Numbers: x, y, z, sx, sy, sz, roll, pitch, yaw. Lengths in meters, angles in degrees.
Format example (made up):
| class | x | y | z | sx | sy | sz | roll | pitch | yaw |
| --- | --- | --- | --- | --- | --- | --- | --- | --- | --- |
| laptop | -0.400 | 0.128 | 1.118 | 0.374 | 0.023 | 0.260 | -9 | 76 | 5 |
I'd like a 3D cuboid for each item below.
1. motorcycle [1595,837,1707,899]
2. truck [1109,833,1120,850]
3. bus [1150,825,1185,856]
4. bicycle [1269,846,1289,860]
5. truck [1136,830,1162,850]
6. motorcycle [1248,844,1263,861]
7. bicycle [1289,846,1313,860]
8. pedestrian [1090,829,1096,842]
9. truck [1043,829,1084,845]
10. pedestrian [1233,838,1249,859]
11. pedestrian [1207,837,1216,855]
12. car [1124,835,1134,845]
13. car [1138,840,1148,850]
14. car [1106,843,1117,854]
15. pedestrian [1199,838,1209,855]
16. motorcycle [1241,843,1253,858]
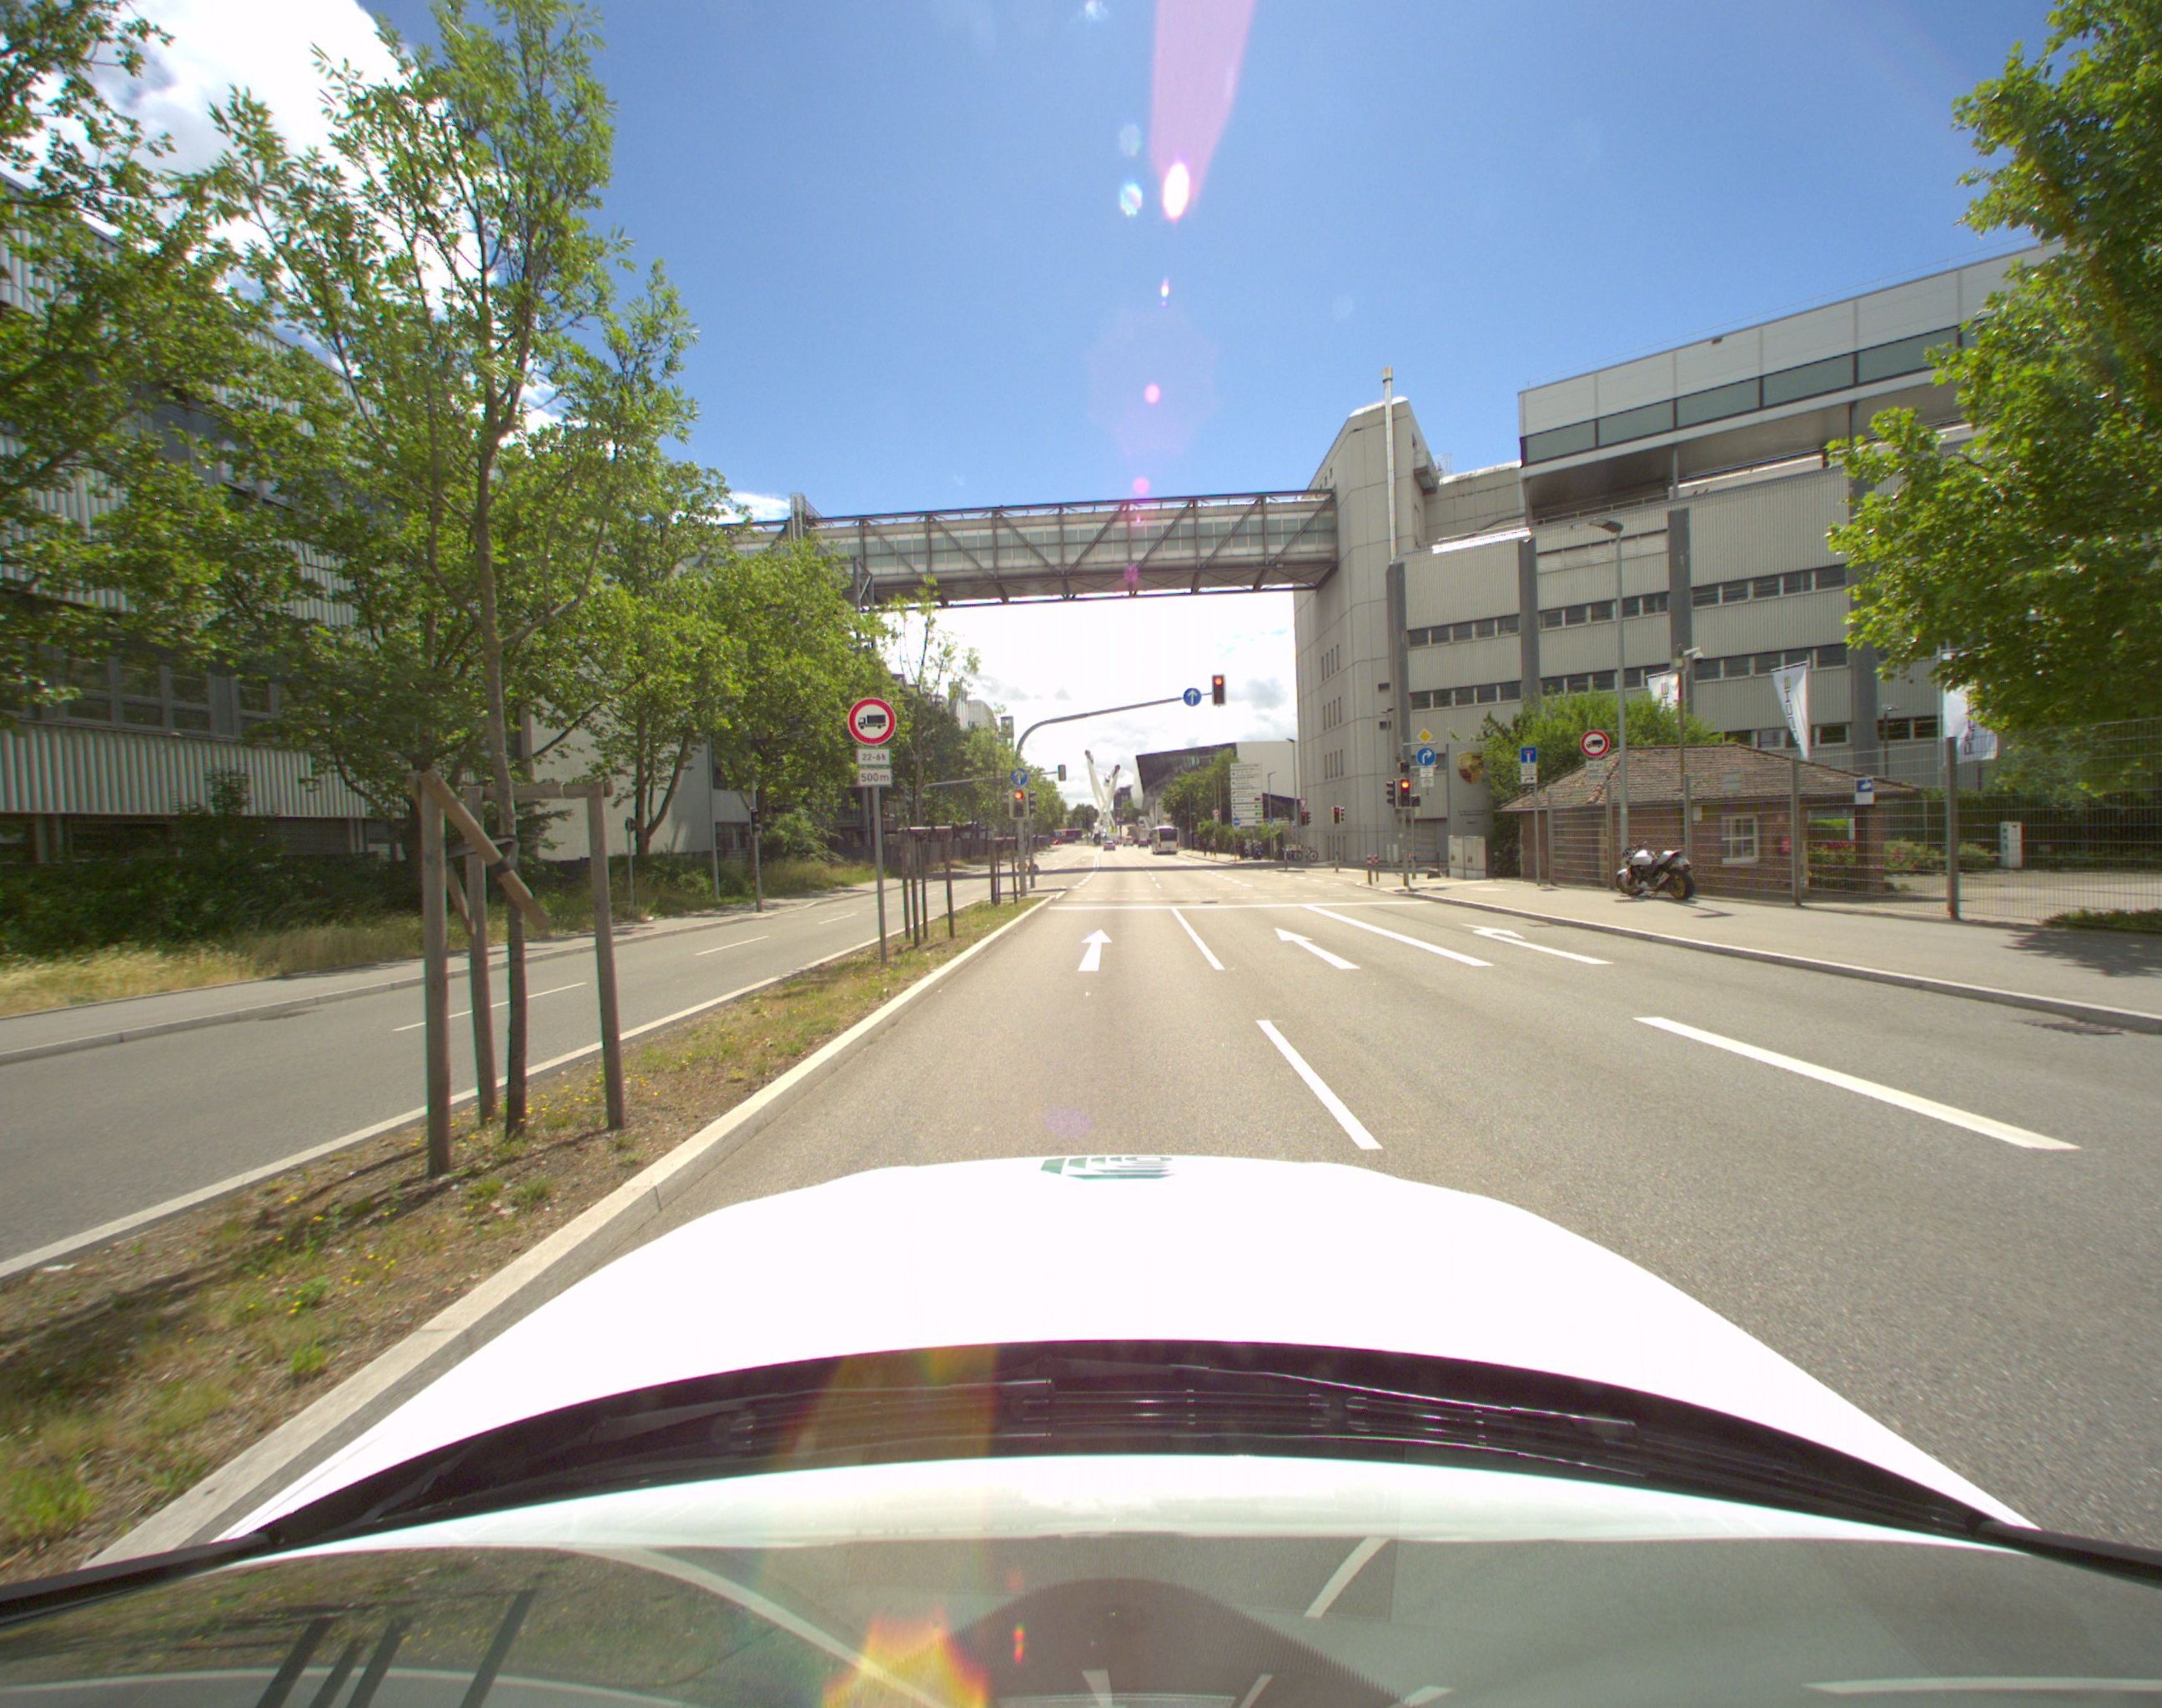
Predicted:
| class | x | y | z | sx | sy | sz | roll | pitch | yaw |
| --- | --- | --- | --- | --- | --- | --- | --- | --- | --- |
| motorcycle | 11.613 | 0.266 | 16.699 | 0.691 | 1.158 | 2.146 | -3 | 0 | -2 |
| truck | 7.600 | -2.874 | 185.792 | 2.382 | 3.897 | 6.181 | -1 | 0 | 3 |
| bus | 10.482 | -1.570 | 99.756 | 3.440 | 3.543 | 10.610 | -1 | 0 | 2 |
| bicycle | 13.796 | -0.057 | 56.792 | 0.398 | 0.937 | 1.918 | -1 | 0 | -16 |
| truck | 15.793 | -3.171 | 187.368 | 3.423 | 4.391 | 9.468 | -1 | 0 | 20 |
| motorcycle | 13.019 | -0.149 | 60.716 | 0.703 | 1.203 | 2.025 | -3 | 1 | 3 |
| bicycle | 14.706 | -0.051 | 54.466 | 0.399 | 0.937 | 1.914 | -1 | 0 | -23 |
| pedestrian | 3.232 | -4.927 | 216.610 | 1.411 | 3.600 | 1.284 | -1 | 0 | 1 |
| truck | -5.266 | -4.988 | 242.477 | 12.216 | 4.324 | 3.537 | 0 | -1 | -34 |
| pedestrian | 12.628 | -0.459 | 64.117 | 0.839 | 1.624 | 0.962 | -1 | 0 | 43 |
| pedestrian | 12.827 | -0.806 | 80.018 | 0.814 | 1.741 | 0.640 | -1 | 0 | 15 |
| car | 10.063 | -2.896 | 170.132 | 1.986 | 2.014 | 4.001 | 0 | -1 | 1 |
| car | 11.134 | -1.588 | 146.771 | 1.731 | 1.741 | 3.694 | -1 | 0 | 3 |
| car | 4.820 | -0.849 | 127.672 | 1.731 | 1.741 | 3.694 | -1 | 0 | 3 |
| pedestrian | 12.145 | -0.752 | 80.250 | 0.817 | 1.707 | 0.881 | -1 | 0 | 2 |
| motorcycle | 13.950 | -0.312 | 68.482 | 0.572 | 1.203 | 2.025 | -3 | 1 | 3 |
